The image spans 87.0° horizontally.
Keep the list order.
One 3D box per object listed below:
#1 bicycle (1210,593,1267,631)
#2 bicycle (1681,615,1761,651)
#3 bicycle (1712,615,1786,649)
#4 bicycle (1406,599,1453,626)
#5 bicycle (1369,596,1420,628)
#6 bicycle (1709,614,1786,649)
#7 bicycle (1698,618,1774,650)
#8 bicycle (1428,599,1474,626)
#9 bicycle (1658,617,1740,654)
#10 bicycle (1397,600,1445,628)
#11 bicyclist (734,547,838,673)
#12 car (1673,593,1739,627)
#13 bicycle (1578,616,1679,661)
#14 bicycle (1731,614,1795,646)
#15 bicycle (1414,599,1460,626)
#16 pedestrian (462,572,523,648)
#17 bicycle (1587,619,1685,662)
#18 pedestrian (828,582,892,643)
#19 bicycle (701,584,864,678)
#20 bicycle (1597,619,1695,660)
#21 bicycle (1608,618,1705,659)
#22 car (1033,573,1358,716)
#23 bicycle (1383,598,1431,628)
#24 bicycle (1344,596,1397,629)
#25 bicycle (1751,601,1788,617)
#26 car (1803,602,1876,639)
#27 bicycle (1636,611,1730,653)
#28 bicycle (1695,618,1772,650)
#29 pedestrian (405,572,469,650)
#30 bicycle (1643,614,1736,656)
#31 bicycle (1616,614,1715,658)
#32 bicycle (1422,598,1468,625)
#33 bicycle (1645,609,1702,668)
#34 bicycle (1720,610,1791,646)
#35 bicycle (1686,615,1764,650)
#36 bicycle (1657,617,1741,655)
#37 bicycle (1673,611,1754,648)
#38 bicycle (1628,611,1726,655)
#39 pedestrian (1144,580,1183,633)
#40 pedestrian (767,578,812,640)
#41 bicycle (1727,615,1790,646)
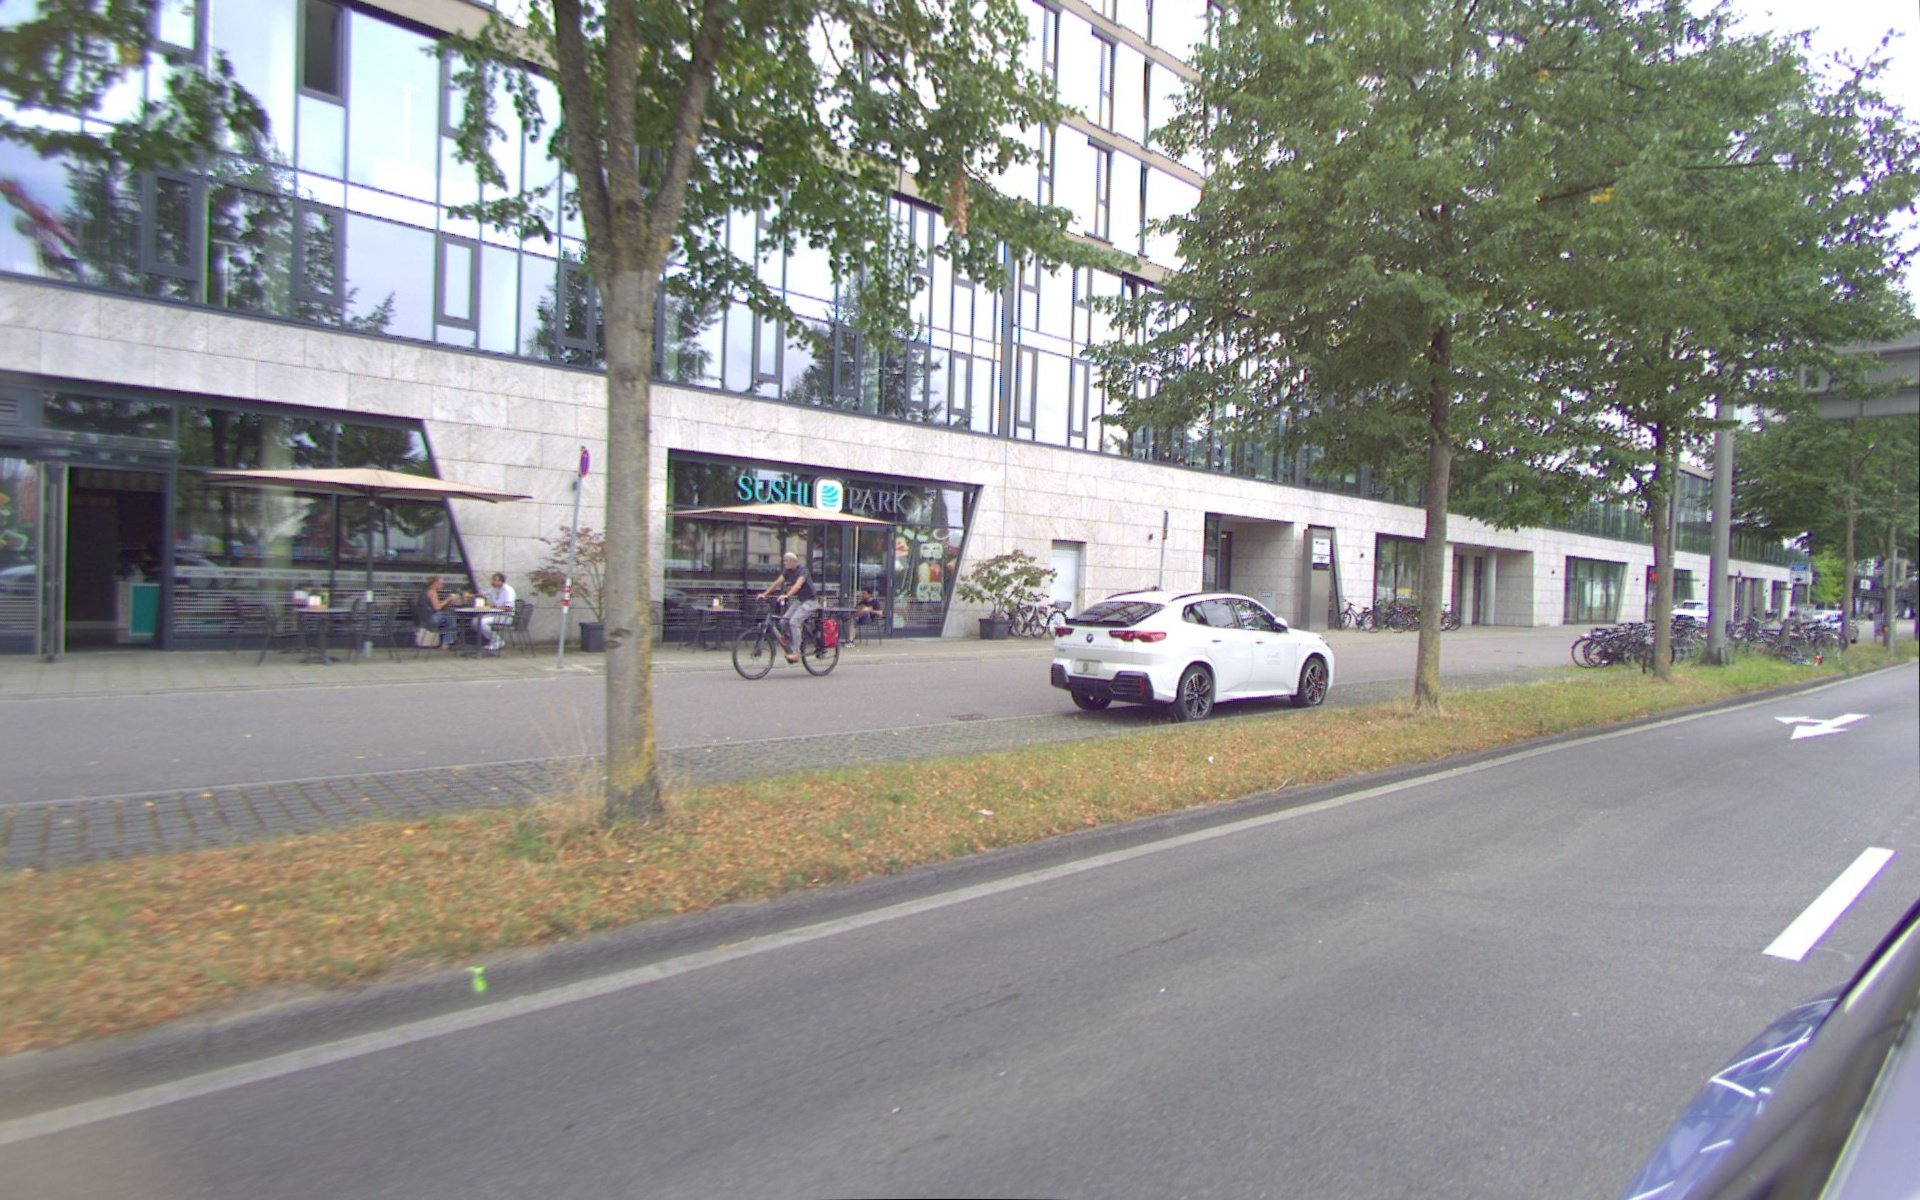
[{"bbox_3d":[8.412,0.344,30.594,1.585,1.039,0.606,3,2,23],"label":"bicycle"},{"bbox_3d":[21.461,0.934,28.562,1.742,0.987,0.600,-2,-2,42],"label":"bicycle"},{"bbox_3d":[24.329,0.965,31.223,1.770,1.025,0.601,-1,-1,42],"label":"bicycle"},{"bbox_3d":[18.046,0.482,38.901,0.524,0.965,1.531,1,2,-43],"label":"bicycle"},{"bbox_3d":[15.593,0.432,36.349,0.524,1.039,1.600,1,2,-43],"label":"bicycle"},{"bbox_3d":[23.876,0.946,30.704,1.770,1.025,0.601,-2,-2,42],"label":"bicycle"},{"bbox_3d":[22.877,0.990,29.844,1.713,0.917,0.580,-2,-2,42],"label":"bicycle"},{"bbox_3d":[19.552,0.488,40.322,0.524,0.965,1.531,1,2,-43],"label":"bicycle"},{"bbox_3d":[20.127,0.965,27.574,1.742,0.987,0.600,-2,-2,42],"label":"bicycle"},{"bbox_3d":[17.454,0.529,38.346,0.524,0.965,1.531,1,2,-43],"label":"bicycle"},{"bbox_3d":[-2.607,0.123,15.158,1.110,1.758,0.999,1,4,-42],"label":"bicyclist"},{"bbox_3d":[39.370,0.502,53.396,4.165,1.607,1.862,1,4,-41],"label":"car"},{"bbox_3d":[15.549,0.880,23.577,0.564,1.008,1.862,1,-2,-43],"label":"bicycle"},{"bbox_3d":[25.529,0.946,32.187,0.476,0.965,1.530,1,-1,-43],"label":"bicycle"},{"bbox_3d":[18.501,0.481,39.284,0.524,0.965,1.531,1,2,-43],"label":"bicycle"},{"bbox_3d":[-7.772,0.160,16.815,0.745,1.207,0.720,1,1,-39],"label":"pedestrian"},{"bbox_3d":[16.026,0.951,24.026,0.493,0.963,1.862,1,-2,-43],"label":"bicycle"},{"bbox_3d":[-2.047,0.248,20.742,1.083,1.207,0.776,1,1,-25],"label":"pedestrian"},{"bbox_3d":[-2.619,0.434,15.140,2.229,1.250,0.904,1,3,-42],"label":"bicycle"},{"bbox_3d":[16.586,0.949,24.503,0.642,0.963,1.862,1,-2,-43],"label":"bicycle"},{"bbox_3d":[17.156,0.947,24.957,0.602,0.963,1.862,1,-2,-43],"label":"bicycle"},{"bbox_3d":[3.261,0.498,13.469,4.513,1.571,1.941,1,1,-42],"label":"car"},{"bbox_3d":[16.642,0.458,37.668,0.524,1.039,1.531,1,2,-43],"label":"bicycle"},{"bbox_3d":[14.249,0.419,35.131,0.524,1.039,1.600,1,2,-43],"label":"bicycle"},{"bbox_3d":[63.489,0.699,79.380,2.231,1.191,0.961,3,1,43],"label":"bicycle"},{"bbox_3d":[37.543,0.860,43.165,4.109,1.439,1.764,1,1,-41],"label":"car"},{"bbox_3d":[18.796,0.830,26.340,1.927,1.079,0.535,-2,-2,42],"label":"bicycle"},{"bbox_3d":[22.449,0.979,29.384,1.713,0.917,0.580,-2,-2,42],"label":"bicycle"},{"bbox_3d":[-8.410,0.167,16.274,0.745,1.207,0.720,1,1,-41],"label":"pedestrian"},{"bbox_3d":[19.233,0.922,26.703,1.927,1.079,0.535,-2,-2,42],"label":"bicycle"},{"bbox_3d":[17.676,0.893,25.397,0.693,1.079,1.931,1,-2,-43],"label":"bicycle"},{"bbox_3d":[19.093,0.444,39.879,0.524,0.965,1.531,1,2,-43],"label":"bicycle"},{"bbox_3d":[14.532,0.762,20.590,0.709,1.130,2.170,-2,-2,41],"label":"bicycle"},{"bbox_3d":[24.948,0.877,31.756,0.516,1.104,1.669,1,-1,-43],"label":"bicycle"},{"bbox_3d":[21.919,0.931,29.009,1.713,0.987,0.600,-2,-2,42],"label":"bicycle"},{"bbox_3d":[19.748,0.965,27.076,1.742,0.987,0.600,-2,-2,42],"label":"bicycle"},{"bbox_3d":[20.839,0.818,28.022,1.742,0.987,0.600,-2,-2,42],"label":"bicycle"},{"bbox_3d":[18.286,0.845,25.832,0.631,1.079,1.931,1,-2,-43],"label":"bicycle"},{"bbox_3d":[5.655,0.178,28.166,0.707,1.424,0.759,1,1,-33],"label":"pedestrian"},{"bbox_3d":[-3.439,0.175,20.380,0.743,1.207,0.723,1,1,-18],"label":"pedestrian"},{"bbox_3d":[25.931,0.981,32.885,0.543,0.965,1.530,1,-1,-43],"label":"bicycle"}]
